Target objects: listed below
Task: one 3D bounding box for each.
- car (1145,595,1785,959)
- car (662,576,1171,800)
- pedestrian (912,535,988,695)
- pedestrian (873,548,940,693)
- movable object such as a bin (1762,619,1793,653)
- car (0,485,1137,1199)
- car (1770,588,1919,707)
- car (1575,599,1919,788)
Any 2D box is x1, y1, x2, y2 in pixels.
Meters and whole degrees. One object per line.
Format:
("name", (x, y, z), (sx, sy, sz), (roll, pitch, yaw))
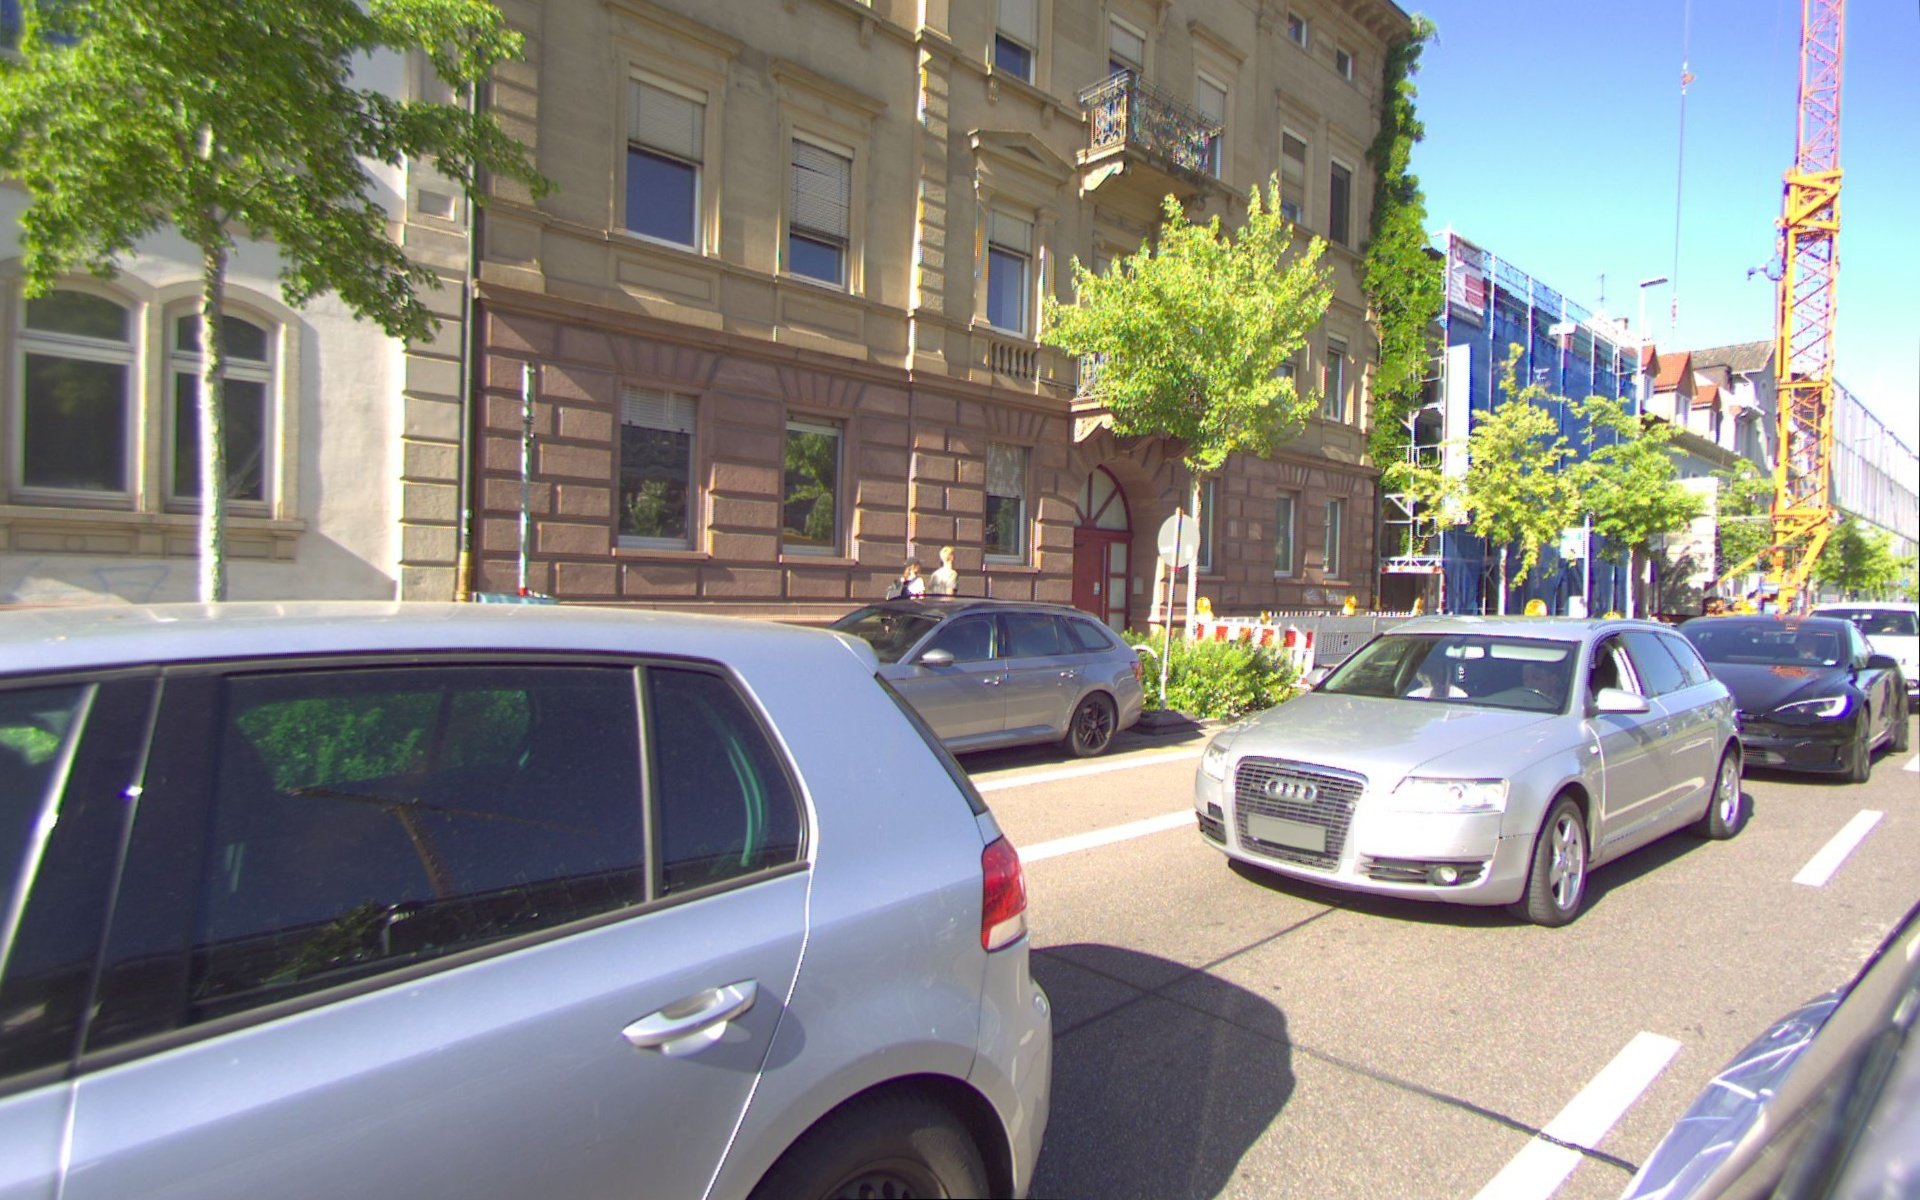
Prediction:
("car", (3.384, 0.728, 6.258), (4.751, 1.445, 1.752), (1, 0, -39))
("car", (-0.180, 0.625, 9.293), (4.619, 1.493, 1.651), (1, 4, -42))
("pedestrian", (-0.128, 0.167, 12.785), (0.577, 1.936, 0.660), (1, 3, -41))
("pedestrian", (-0.715, 0.259, 13.426), (0.577, 1.843, 0.564), (1, 3, -41))
("movable object such as a bin", (27.522, 1.217, 34.067), (0.717, 1.070, 0.597), (1, 4, -40))
("car", (-1.702, 0.654, 1.428), (3.934, 1.547, 1.753), (1, 0, -41))
("car", (14.426, 0.676, 15.940), (3.930, 1.654, 1.932), (1, 0, -41))
("car", (8.076, 0.747, 10.142), (4.445, 1.462, 2.054), (1, 0, -41))
